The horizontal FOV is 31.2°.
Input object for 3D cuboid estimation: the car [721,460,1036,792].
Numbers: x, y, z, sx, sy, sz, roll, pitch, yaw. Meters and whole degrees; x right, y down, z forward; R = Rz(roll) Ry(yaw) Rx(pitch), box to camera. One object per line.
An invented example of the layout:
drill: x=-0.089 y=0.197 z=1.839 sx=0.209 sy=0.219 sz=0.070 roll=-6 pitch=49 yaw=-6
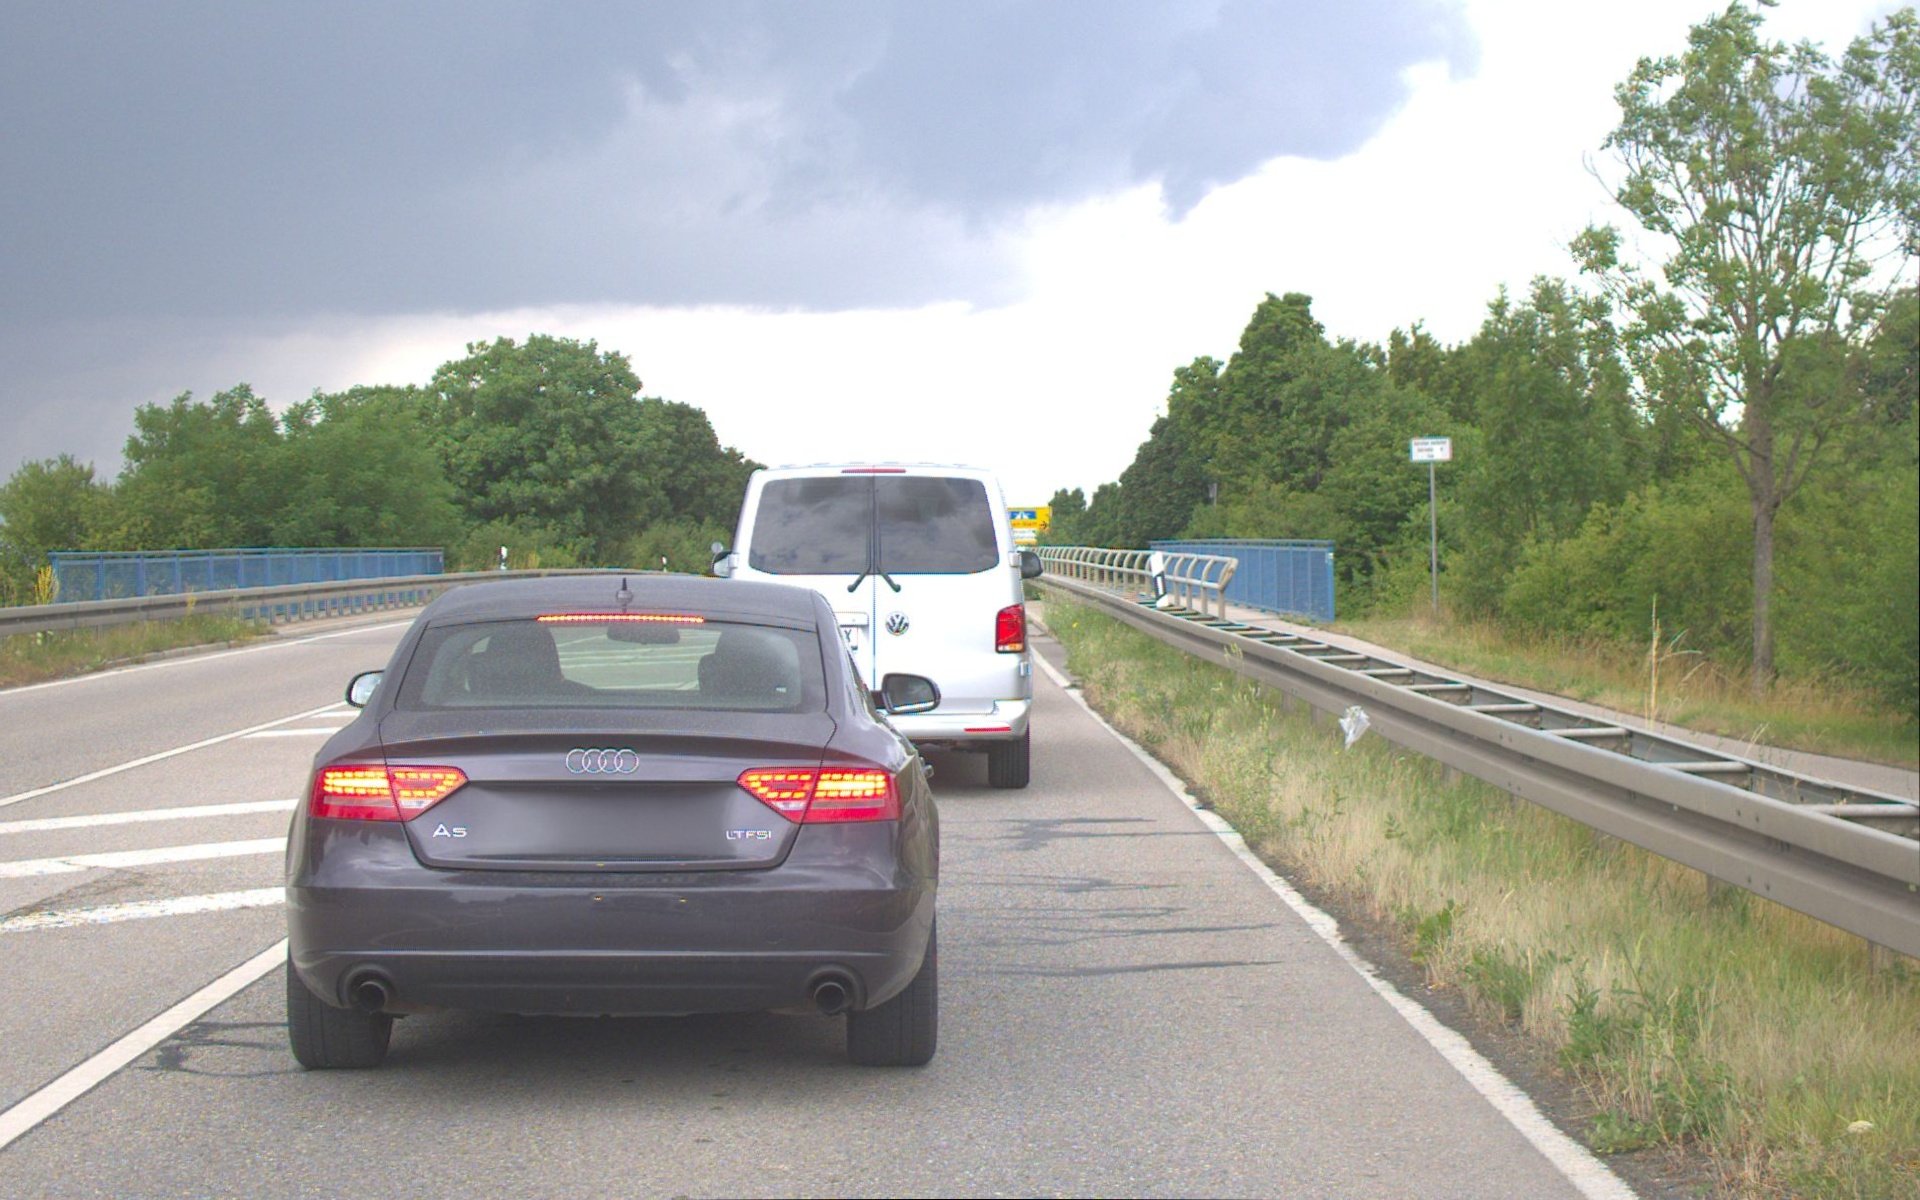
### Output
car: x=-0.493 y=0.132 z=21.697 sx=1.785 sy=1.883 sz=4.000 roll=1 pitch=0 yaw=-1

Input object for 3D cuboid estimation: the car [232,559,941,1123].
car: x=-0.975 y=0.594 z=10.729 sx=1.785 sy=1.419 sz=4.000 roll=1 pitch=0 yaw=-1

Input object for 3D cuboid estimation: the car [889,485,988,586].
car: x=-0.546 y=-1.662 z=88.431 sx=2.447 sy=2.495 sz=5.041 roll=1 pitch=1 yaw=0
